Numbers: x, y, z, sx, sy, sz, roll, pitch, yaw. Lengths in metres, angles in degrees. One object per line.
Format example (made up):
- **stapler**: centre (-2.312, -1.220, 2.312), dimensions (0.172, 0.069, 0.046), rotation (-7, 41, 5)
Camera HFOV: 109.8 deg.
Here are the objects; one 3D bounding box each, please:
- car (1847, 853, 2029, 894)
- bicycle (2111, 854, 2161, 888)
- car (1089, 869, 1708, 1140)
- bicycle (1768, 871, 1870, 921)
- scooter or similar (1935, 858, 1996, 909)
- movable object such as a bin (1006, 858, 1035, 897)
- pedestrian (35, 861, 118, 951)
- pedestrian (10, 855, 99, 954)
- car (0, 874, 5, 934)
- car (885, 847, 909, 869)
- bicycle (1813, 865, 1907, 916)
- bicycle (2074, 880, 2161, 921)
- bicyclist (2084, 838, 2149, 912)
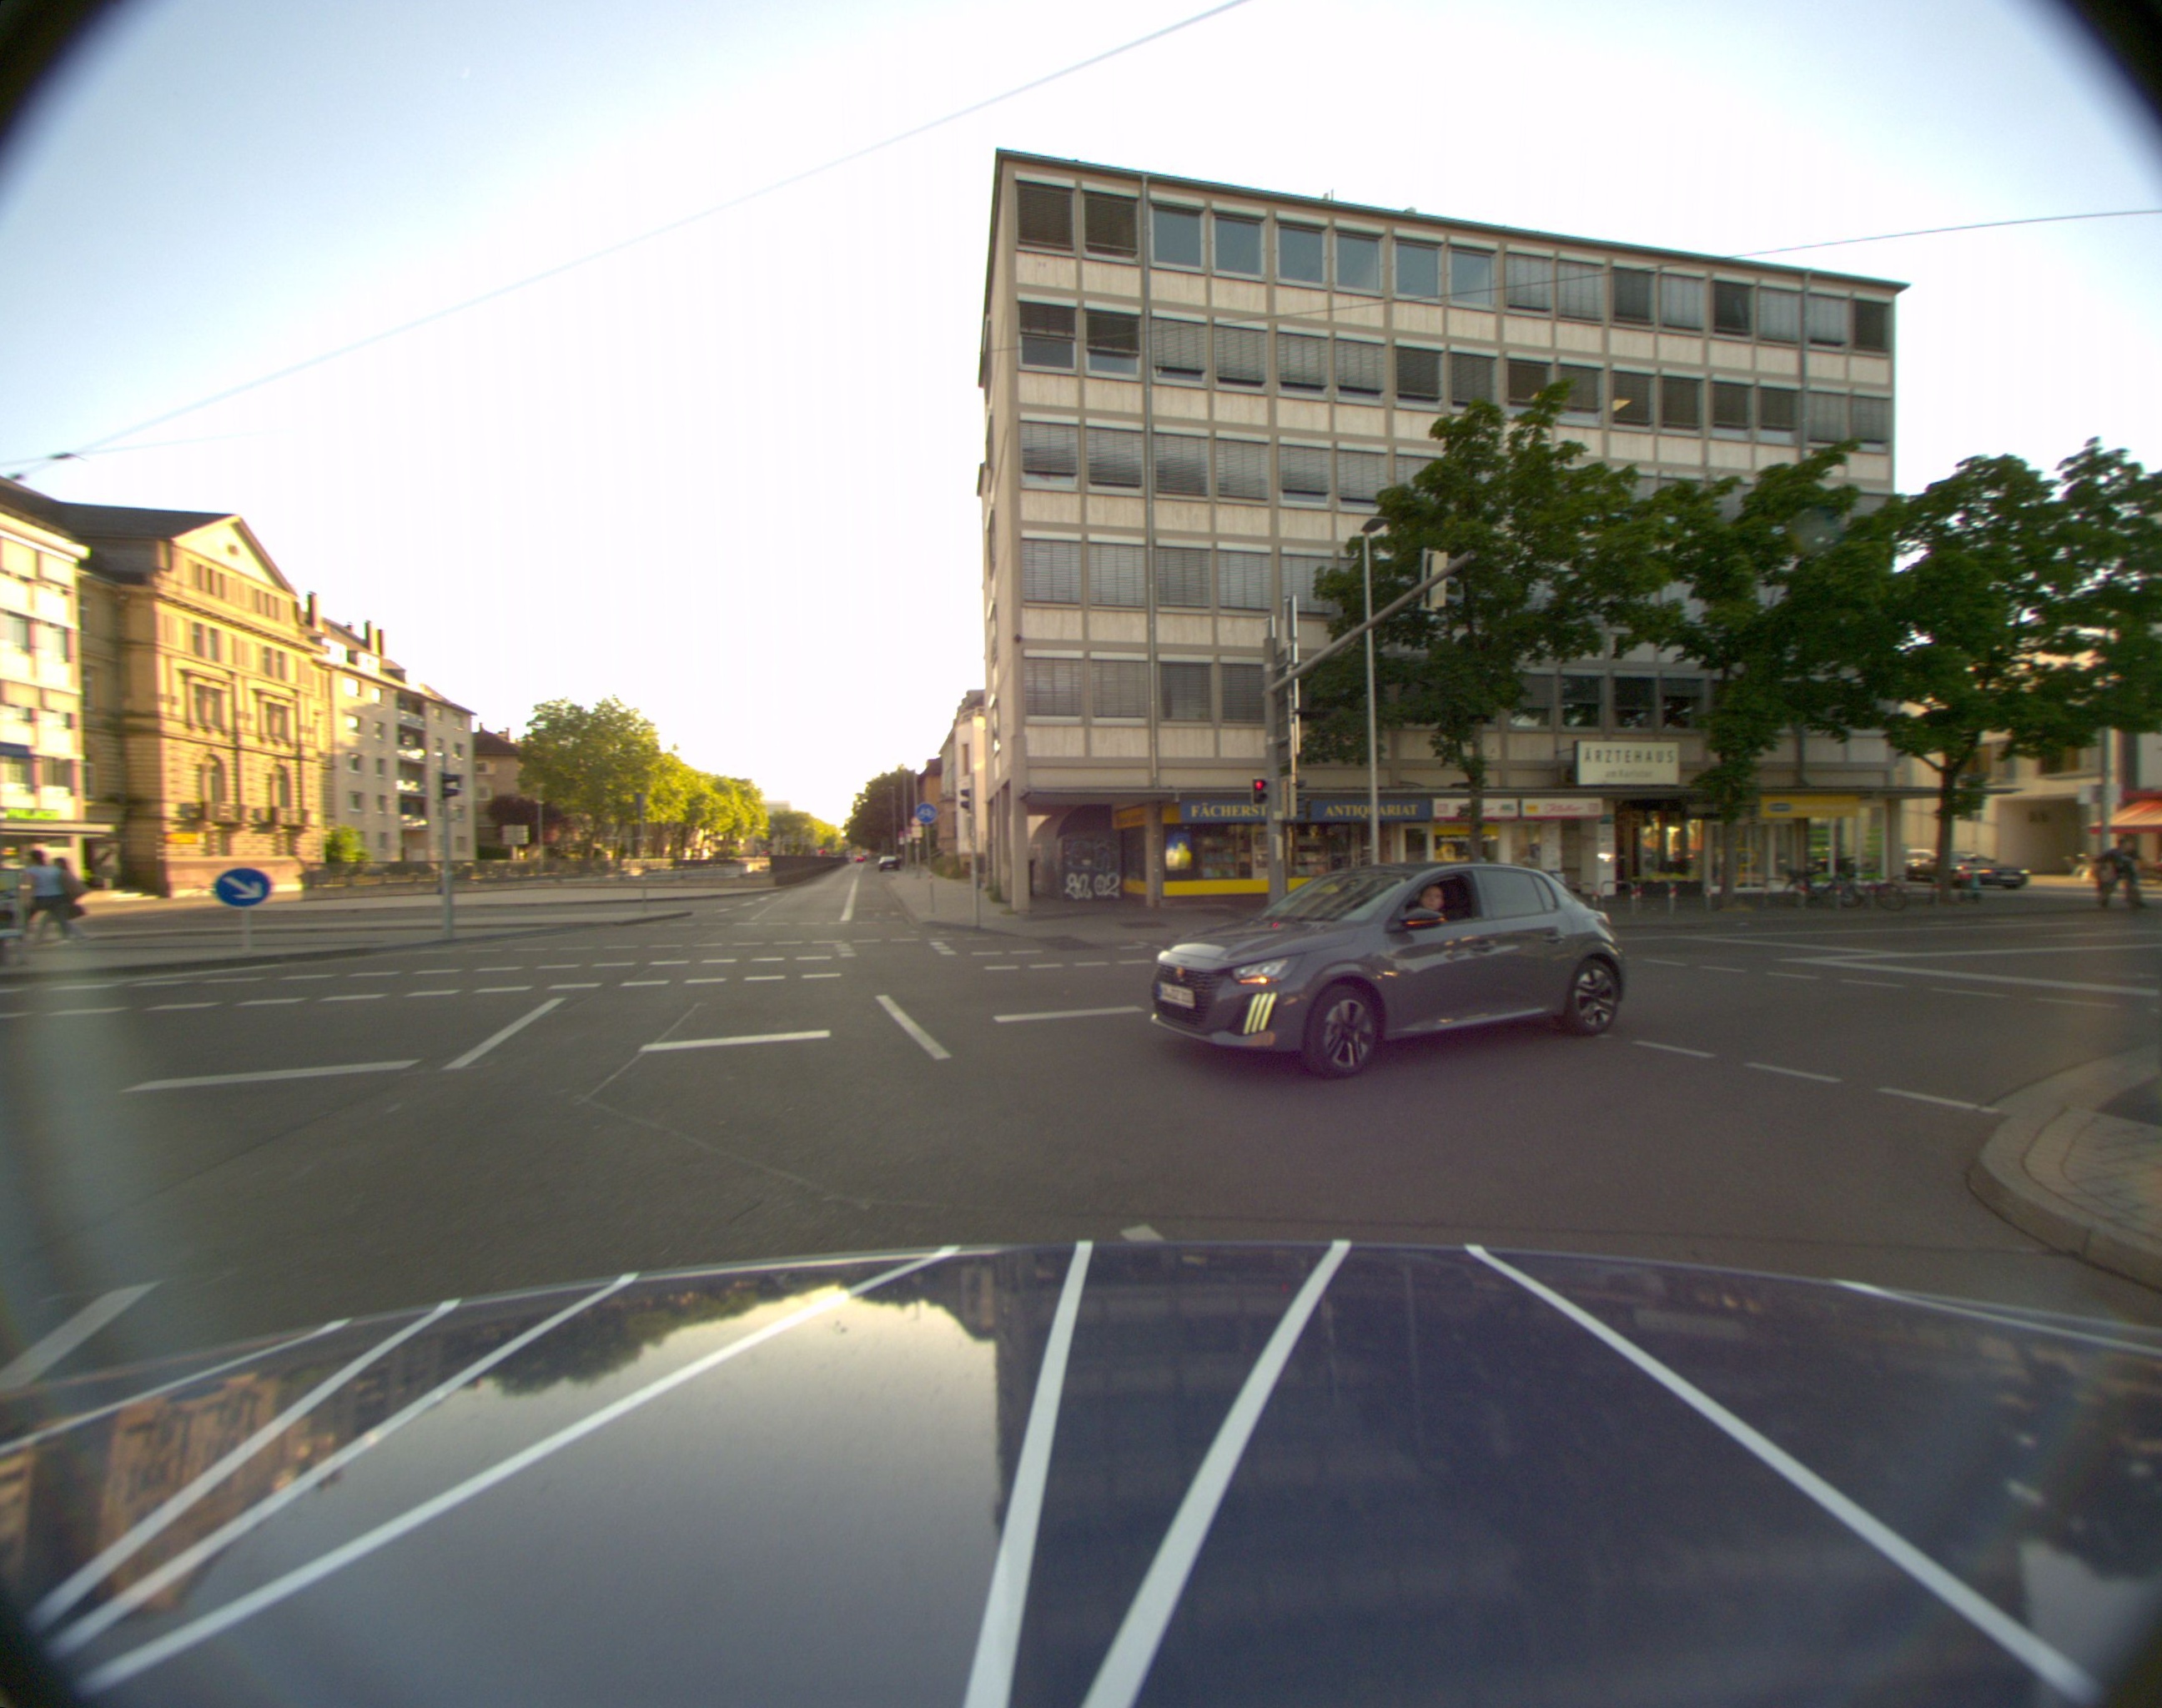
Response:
- **car**: centre (32.946, 0.691, 29.382), dimensions (1.739, 1.427, 4.363), rotation (-1, 1, -24)
- **bicycle**: centre (39.151, 0.615, 27.811), dimensions (0.600, 1.160, 1.633), rotation (-3, 1, -6)
- **car**: centre (2.617, 0.946, 6.312), dimensions (4.707, 1.495, 1.914), rotation (-1, 0, -21)
- **bicycle**: centre (18.718, 1.034, 19.326), dimensions (0.667, 1.133, 1.742), rotation (-1, 1, -18)
- **scooter or similar**: centre (23.995, 0.779, 20.640), dimensions (0.514, 1.314, 1.282), rotation (-1, 1, 19)
- **movable object such as a bin**: centre (-2.205, 0.833, 27.571), dimensions (0.960, 1.319, 1.413), rotation (-1, 1, -8)
- **pedestrian**: centre (-18.252, 0.916, 13.814), dimensions (0.824, 1.573, 0.706), rotation (-1, 1, 25)
- **pedestrian**: centre (-17.643, 0.843, 13.068), dimensions (0.770, 1.639, 0.728), rotation (-1, 1, 24)
- **car**: centre (-28.878, 1.318, 17.353), dimensions (2.222, 1.546, 4.609), rotation (-1, 0, -7)
- **car**: centre (-17.492, 0.338, 72.321), dimensions (2.000, 2.002, 4.257), rotation (-1, 1, -11)
- **bicycle**: centre (19.716, 0.890, 19.285), dimensions (0.538, 1.178, 1.635), rotation (-1, 1, -11)
- **bicycle**: centre (25.034, 1.114, 18.336), dimensions (1.691, 0.896, 0.675), rotation (-1, 1, -14)
- **bicyclist**: centre (24.881, 0.490, 18.262), dimensions (0.810, 1.717, 0.665), rotation (-1, 1, -14)
